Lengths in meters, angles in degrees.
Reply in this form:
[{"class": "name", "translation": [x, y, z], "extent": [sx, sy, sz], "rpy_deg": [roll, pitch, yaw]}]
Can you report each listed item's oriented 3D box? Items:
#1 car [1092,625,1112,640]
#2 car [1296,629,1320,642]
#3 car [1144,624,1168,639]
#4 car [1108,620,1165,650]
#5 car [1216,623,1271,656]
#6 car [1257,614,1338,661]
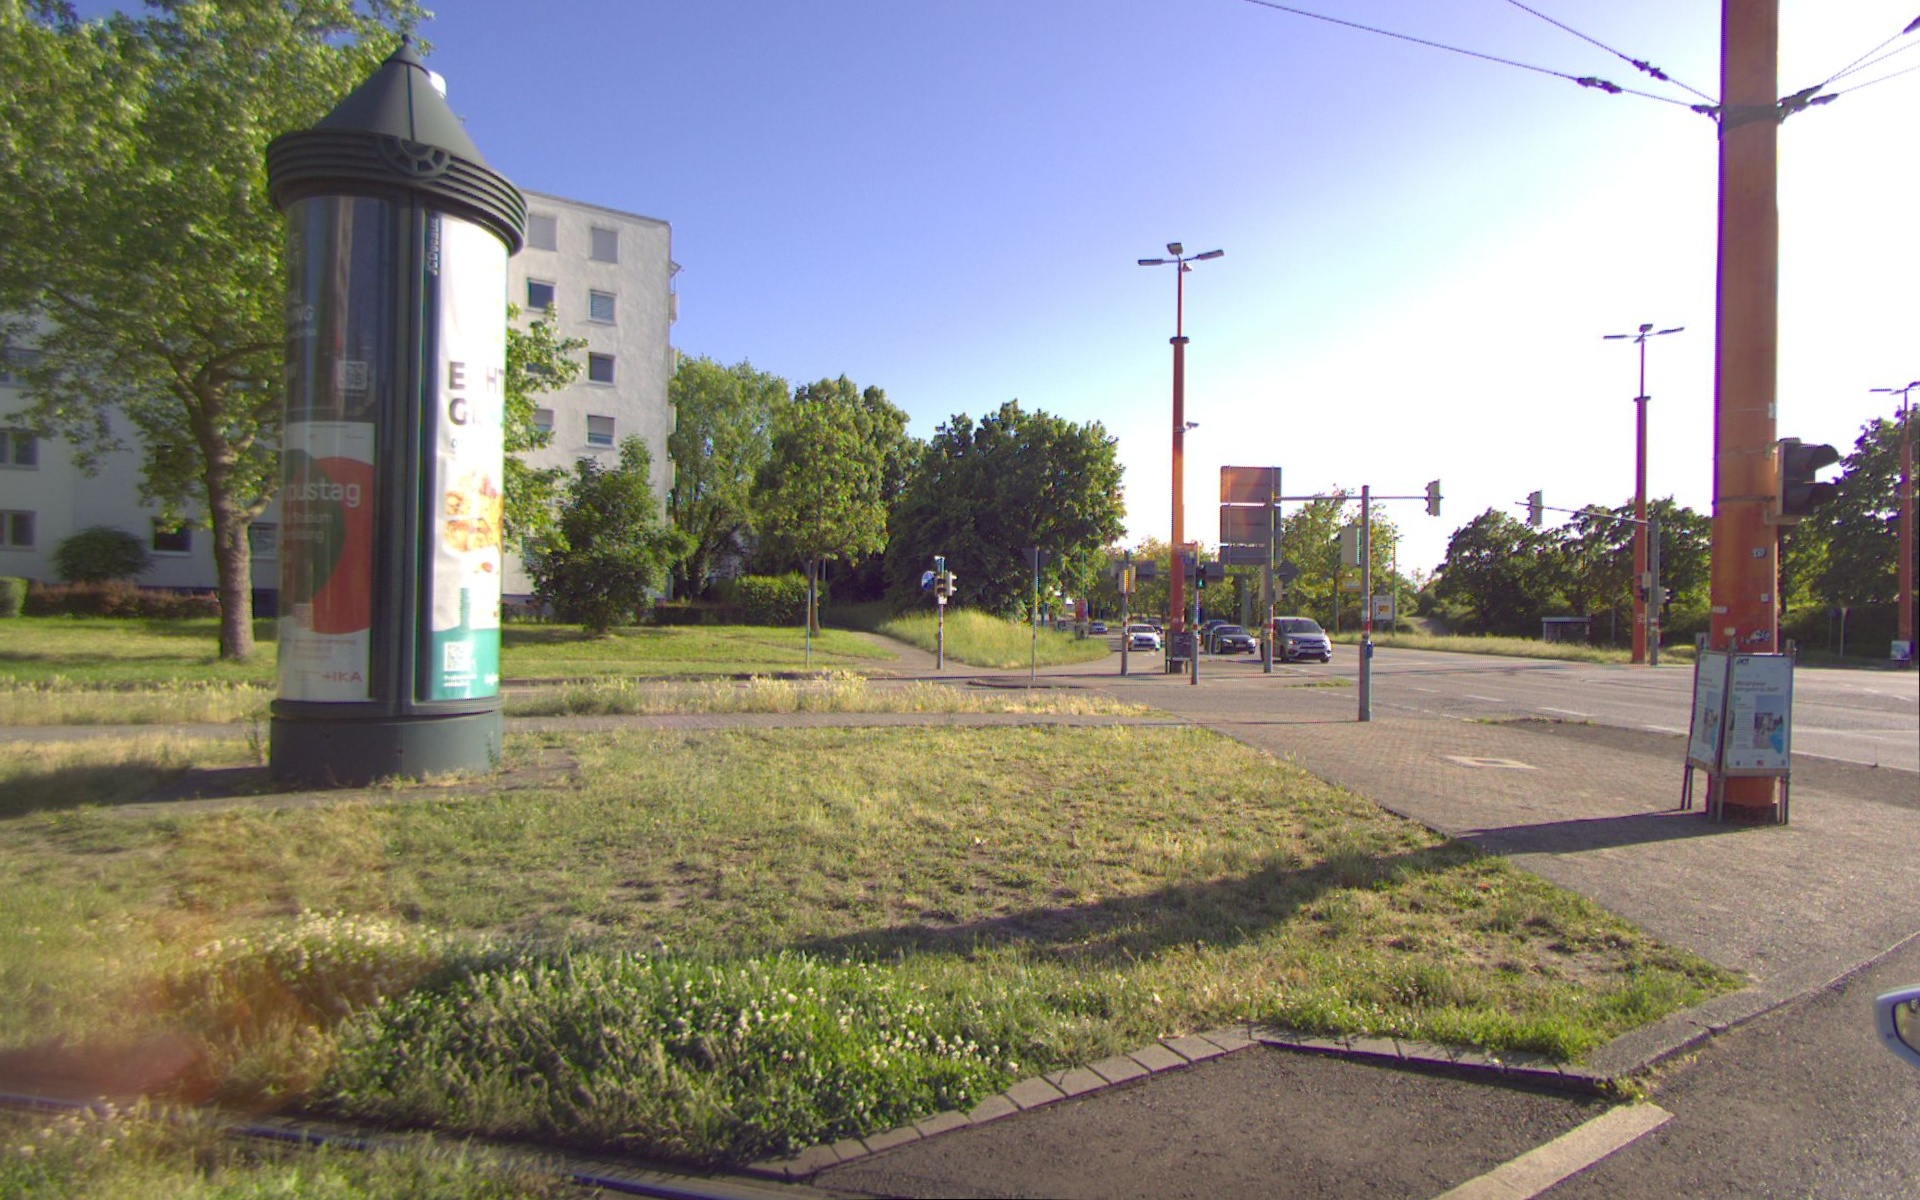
[{"class": "car", "translation": [15.871, 3.628, 112.398], "extent": [1.866, 1.632, 4.568], "rpy_deg": [0, -1, 5]}, {"class": "car", "translation": [44.487, 4.498, 128.414], "extent": [1.738, 1.483, 4.368], "rpy_deg": [1, -1, 3]}, {"class": "car", "translation": [21.297, 3.384, 109.193], "extent": [1.867, 1.586, 4.566], "rpy_deg": [0, -1, 1]}, {"class": "car", "translation": [9.882, 1.943, 56.646], "extent": [1.870, 1.571, 4.253], "rpy_deg": [0, -1, -9]}, {"class": "car", "translation": [13.433, 1.854, 47.863], "extent": [1.866, 1.494, 4.568], "rpy_deg": [0, -1, 8]}, {"class": "car", "translation": [13.522, 1.469, 40.533], "extent": [1.867, 1.798, 4.448], "rpy_deg": [0, -1, 1]}]
